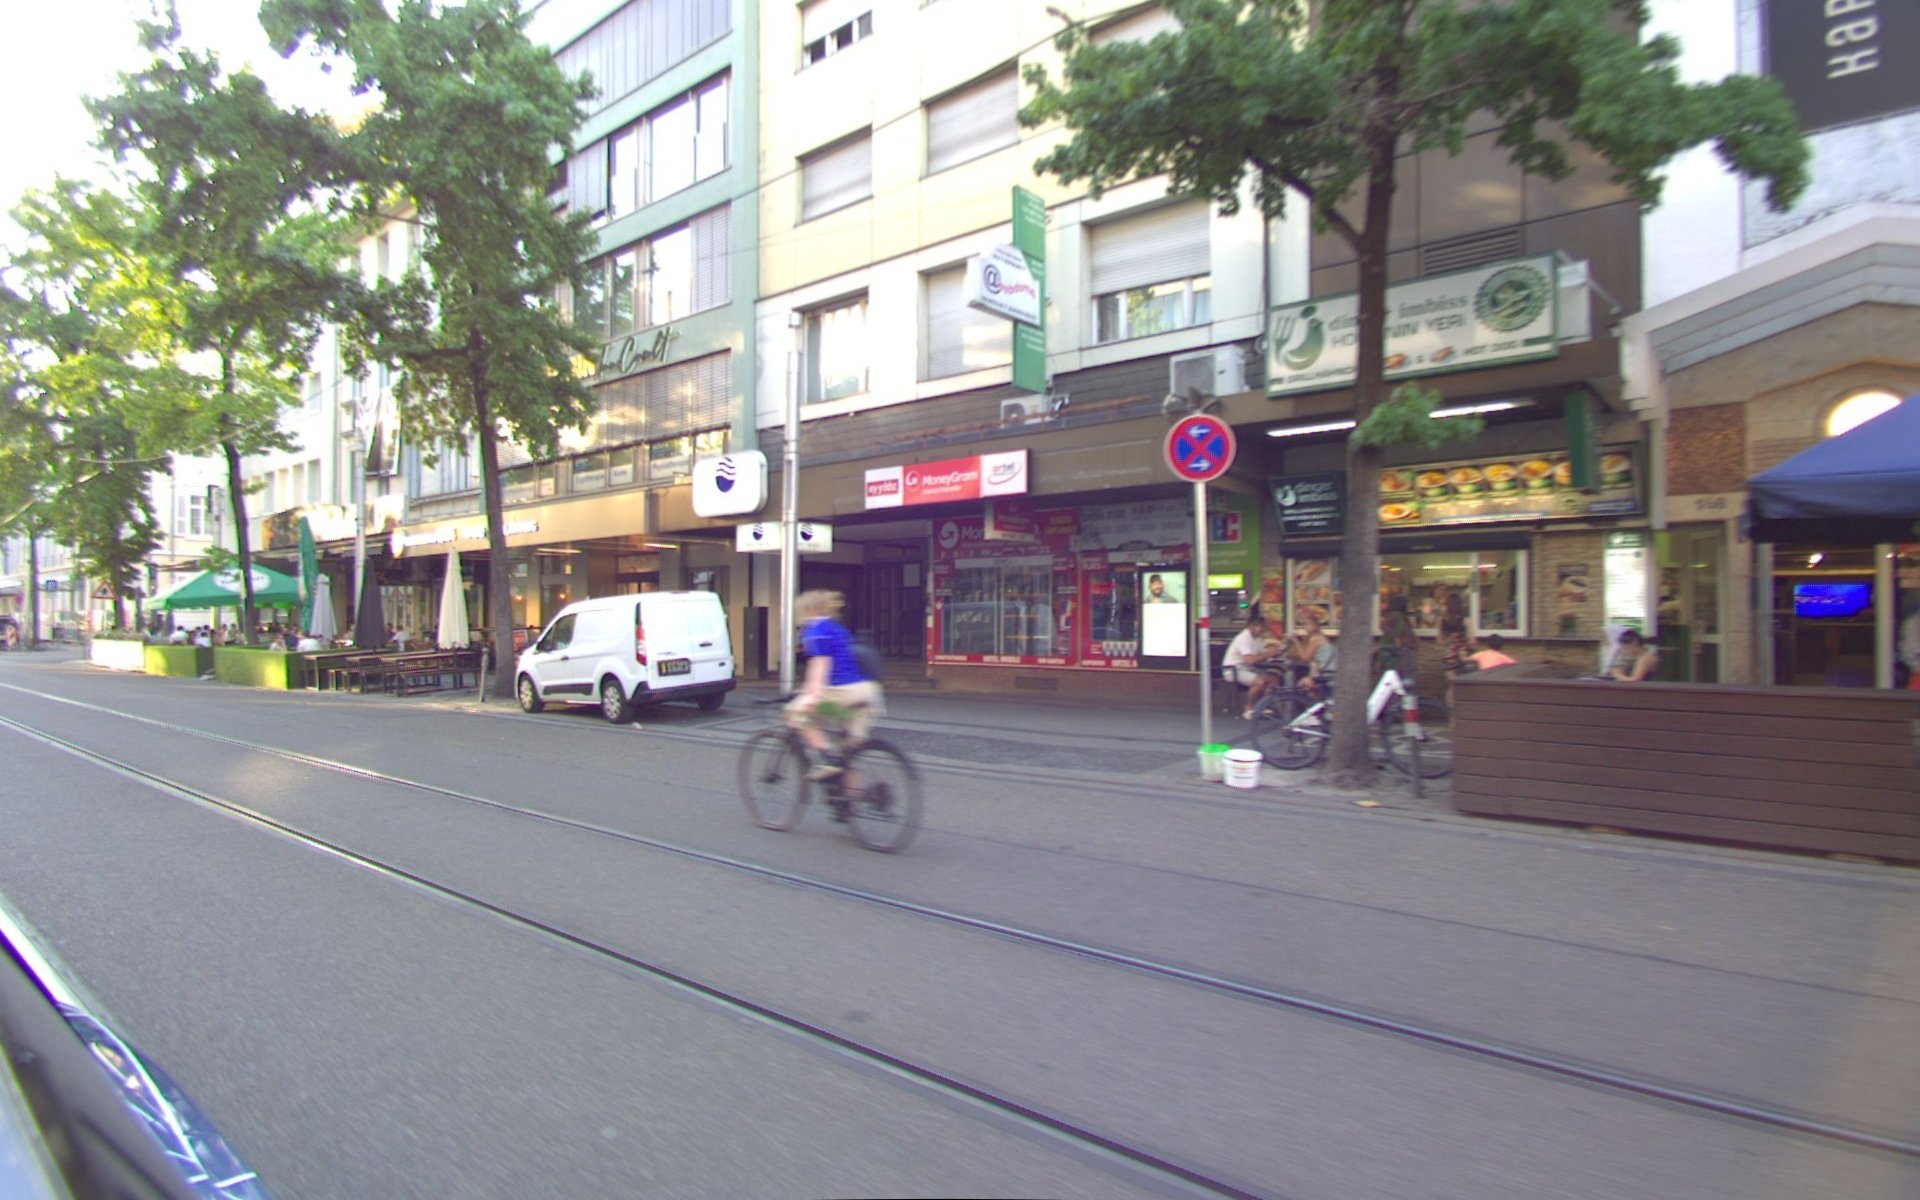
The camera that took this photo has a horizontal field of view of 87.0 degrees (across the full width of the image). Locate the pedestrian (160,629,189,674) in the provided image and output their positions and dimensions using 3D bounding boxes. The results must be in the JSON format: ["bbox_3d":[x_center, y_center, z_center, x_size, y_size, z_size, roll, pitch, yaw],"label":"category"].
[{"bbox_3d":[-24.899,1.610,32.074,0.640,1.396,0.651,1,-2,-43],"label":"pedestrian"}]

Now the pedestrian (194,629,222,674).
[{"bbox_3d":[-23.557,1.596,31.706,0.640,1.396,0.651,1,-2,-43],"label":"pedestrian"}]

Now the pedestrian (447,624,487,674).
[{"bbox_3d":[-13.368,1.323,27.442,0.785,1.326,0.693,-1,-2,36],"label":"pedestrian"}]

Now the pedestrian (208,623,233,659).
[{"bbox_3d":[-30.128,1.670,41.232,0.649,1.471,0.642,-1,-2,38],"label":"pedestrian"}]

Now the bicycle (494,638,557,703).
[{"bbox_3d":[-8.156,1.302,19.071,0.493,1.116,1.801,0,-1,-3],"label":"bicycle"}]

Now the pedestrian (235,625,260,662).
[{"bbox_3d":[-28.404,1.736,40.351,0.649,1.471,0.642,-1,-2,38],"label":"pedestrian"}]

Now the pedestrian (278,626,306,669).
[{"bbox_3d":[-23.306,1.644,35.313,0.649,1.471,0.642,-1,-2,37],"label":"pedestrian"}]

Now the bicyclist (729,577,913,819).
[{"bbox_3d":[-0.900,0.581,6.545,0.897,1.425,0.750,-2,0,43],"label":"bicyclist"}]

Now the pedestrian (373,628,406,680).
[{"bbox_3d":[-16.470,1.558,29.219,0.649,1.471,0.642,-1,-2,38],"label":"pedestrian"}]

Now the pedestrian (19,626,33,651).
[{"bbox_3d":[-53.832,2.217,58.322,0.543,1.471,0.484,-1,-2,38],"label":"pedestrian"}]

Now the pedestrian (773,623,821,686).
[{"bbox_3d":[-3.156,1.044,19.582,0.648,1.184,0.642,-1,-1,35],"label":"pedestrian"}]

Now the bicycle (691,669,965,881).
[{"bbox_3d":[-0.908,1.041,6.564,1.866,1.081,0.722,-2,0,44],"label":"bicycle"}]

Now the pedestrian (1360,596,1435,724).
[{"bbox_3d":[5.247,0.692,12.119,0.642,1.444,0.654,0,3,40],"label":"pedestrian"}]

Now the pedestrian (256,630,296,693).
[{"bbox_3d":[-16.459,1.460,24.362,0.650,1.471,0.641,-2,-2,41],"label":"pedestrian"}]

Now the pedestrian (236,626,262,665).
[{"bbox_3d":[-27.051,1.715,38.491,0.649,1.471,0.642,-1,-2,37],"label":"pedestrian"}]

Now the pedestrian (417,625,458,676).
[{"bbox_3d":[-13.870,1.325,26.888,0.785,1.326,0.693,-1,-2,36],"label":"pedestrian"}]

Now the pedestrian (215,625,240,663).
[{"bbox_3d":[-28.801,1.737,39.776,0.649,1.471,0.642,-1,-2,38],"label":"pedestrian"}]

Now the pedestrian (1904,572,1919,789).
[{"bbox_3d":[7.355,0.580,7.421,0.564,1.564,0.650,0,2,38],"label":"pedestrian"}]

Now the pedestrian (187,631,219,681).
[{"bbox_3d":[-21.268,1.560,28.414,0.640,1.396,0.651,1,-2,-43],"label":"pedestrian"}]

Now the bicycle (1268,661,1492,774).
[{"bbox_3d":[3.770,1.044,9.210,1.813,0.933,0.477,-1,0,20],"label":"bicycle"}]

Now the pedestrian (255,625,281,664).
[{"bbox_3d":[-26.732,1.715,39.095,0.649,1.471,0.642,-1,-2,38],"label":"pedestrian"}]

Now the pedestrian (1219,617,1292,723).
[{"bbox_3d":[3.710,0.852,12.700,0.665,1.237,0.635,0,3,38],"label":"pedestrian"}]

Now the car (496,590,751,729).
[{"bbox_3d":[-5.357,0.840,15.818,4.328,1.835,1.807,-1,1,42],"label":"car"}]

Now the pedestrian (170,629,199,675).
[{"bbox_3d":[-23.951,1.597,31.273,0.640,1.396,0.651,1,-2,-43],"label":"pedestrian"}]

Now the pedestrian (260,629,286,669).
[{"bbox_3d":[-26.046,1.848,38.357,0.649,1.471,0.642,-1,-2,37],"label":"pedestrian"}]

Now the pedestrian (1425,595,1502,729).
[{"bbox_3d":[5.803,0.684,11.665,0.642,1.444,0.654,0,3,40],"label":"pedestrian"}]

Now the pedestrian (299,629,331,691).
[{"bbox_3d":[-15.841,1.457,24.869,0.639,1.471,0.652,0,-2,-33],"label":"pedestrian"}]

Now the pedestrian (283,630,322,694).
[{"bbox_3d":[-15.561,1.450,23.975,0.639,1.471,0.652,0,-1,-20],"label":"pedestrian"}]

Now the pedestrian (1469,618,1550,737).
[{"bbox_3d":[5.824,0.796,10.720,0.665,1.165,0.635,0,2,38],"label":"pedestrian"}]

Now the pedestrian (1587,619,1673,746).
[{"bbox_3d":[6.625,0.786,10.003,0.665,1.165,0.635,0,2,38],"label":"pedestrian"}]

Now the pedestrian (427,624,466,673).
[{"bbox_3d":[-14.186,1.333,27.958,0.785,1.326,0.693,-1,-2,36],"label":"pedestrian"}]

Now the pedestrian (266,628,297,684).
[{"bbox_3d":[-18.113,1.488,27.013,0.639,1.471,0.651,1,-2,-37],"label":"pedestrian"}]

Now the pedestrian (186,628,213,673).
[{"bbox_3d":[-24.447,1.608,32.531,0.640,1.396,0.651,1,-2,-43],"label":"pedestrian"}]

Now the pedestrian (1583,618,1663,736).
[{"bbox_3d":[7.024,0.786,10.715,0.665,1.165,0.635,0,2,38],"label":"pedestrian"}]

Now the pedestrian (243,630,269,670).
[{"bbox_3d":[-26.348,1.848,37.869,0.649,1.471,0.642,-1,-2,37],"label":"pedestrian"}]

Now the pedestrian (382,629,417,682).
[{"bbox_3d":[-15.798,1.549,28.533,0.648,1.471,0.643,-1,-2,31],"label":"pedestrian"}]

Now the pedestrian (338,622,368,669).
[{"bbox_3d":[-19.614,1.458,32.708,0.649,1.471,0.642,-1,-2,37],"label":"pedestrian"}]

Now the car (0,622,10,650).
[{"bbox_3d":[-53.032,1.943,54.891,3.997,1.522,1.776,-1,-2,41],"label":"car"}]

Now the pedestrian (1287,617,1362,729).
[{"bbox_3d":[4.347,0.843,12.058,0.665,1.237,0.635,0,3,38],"label":"pedestrian"}]
